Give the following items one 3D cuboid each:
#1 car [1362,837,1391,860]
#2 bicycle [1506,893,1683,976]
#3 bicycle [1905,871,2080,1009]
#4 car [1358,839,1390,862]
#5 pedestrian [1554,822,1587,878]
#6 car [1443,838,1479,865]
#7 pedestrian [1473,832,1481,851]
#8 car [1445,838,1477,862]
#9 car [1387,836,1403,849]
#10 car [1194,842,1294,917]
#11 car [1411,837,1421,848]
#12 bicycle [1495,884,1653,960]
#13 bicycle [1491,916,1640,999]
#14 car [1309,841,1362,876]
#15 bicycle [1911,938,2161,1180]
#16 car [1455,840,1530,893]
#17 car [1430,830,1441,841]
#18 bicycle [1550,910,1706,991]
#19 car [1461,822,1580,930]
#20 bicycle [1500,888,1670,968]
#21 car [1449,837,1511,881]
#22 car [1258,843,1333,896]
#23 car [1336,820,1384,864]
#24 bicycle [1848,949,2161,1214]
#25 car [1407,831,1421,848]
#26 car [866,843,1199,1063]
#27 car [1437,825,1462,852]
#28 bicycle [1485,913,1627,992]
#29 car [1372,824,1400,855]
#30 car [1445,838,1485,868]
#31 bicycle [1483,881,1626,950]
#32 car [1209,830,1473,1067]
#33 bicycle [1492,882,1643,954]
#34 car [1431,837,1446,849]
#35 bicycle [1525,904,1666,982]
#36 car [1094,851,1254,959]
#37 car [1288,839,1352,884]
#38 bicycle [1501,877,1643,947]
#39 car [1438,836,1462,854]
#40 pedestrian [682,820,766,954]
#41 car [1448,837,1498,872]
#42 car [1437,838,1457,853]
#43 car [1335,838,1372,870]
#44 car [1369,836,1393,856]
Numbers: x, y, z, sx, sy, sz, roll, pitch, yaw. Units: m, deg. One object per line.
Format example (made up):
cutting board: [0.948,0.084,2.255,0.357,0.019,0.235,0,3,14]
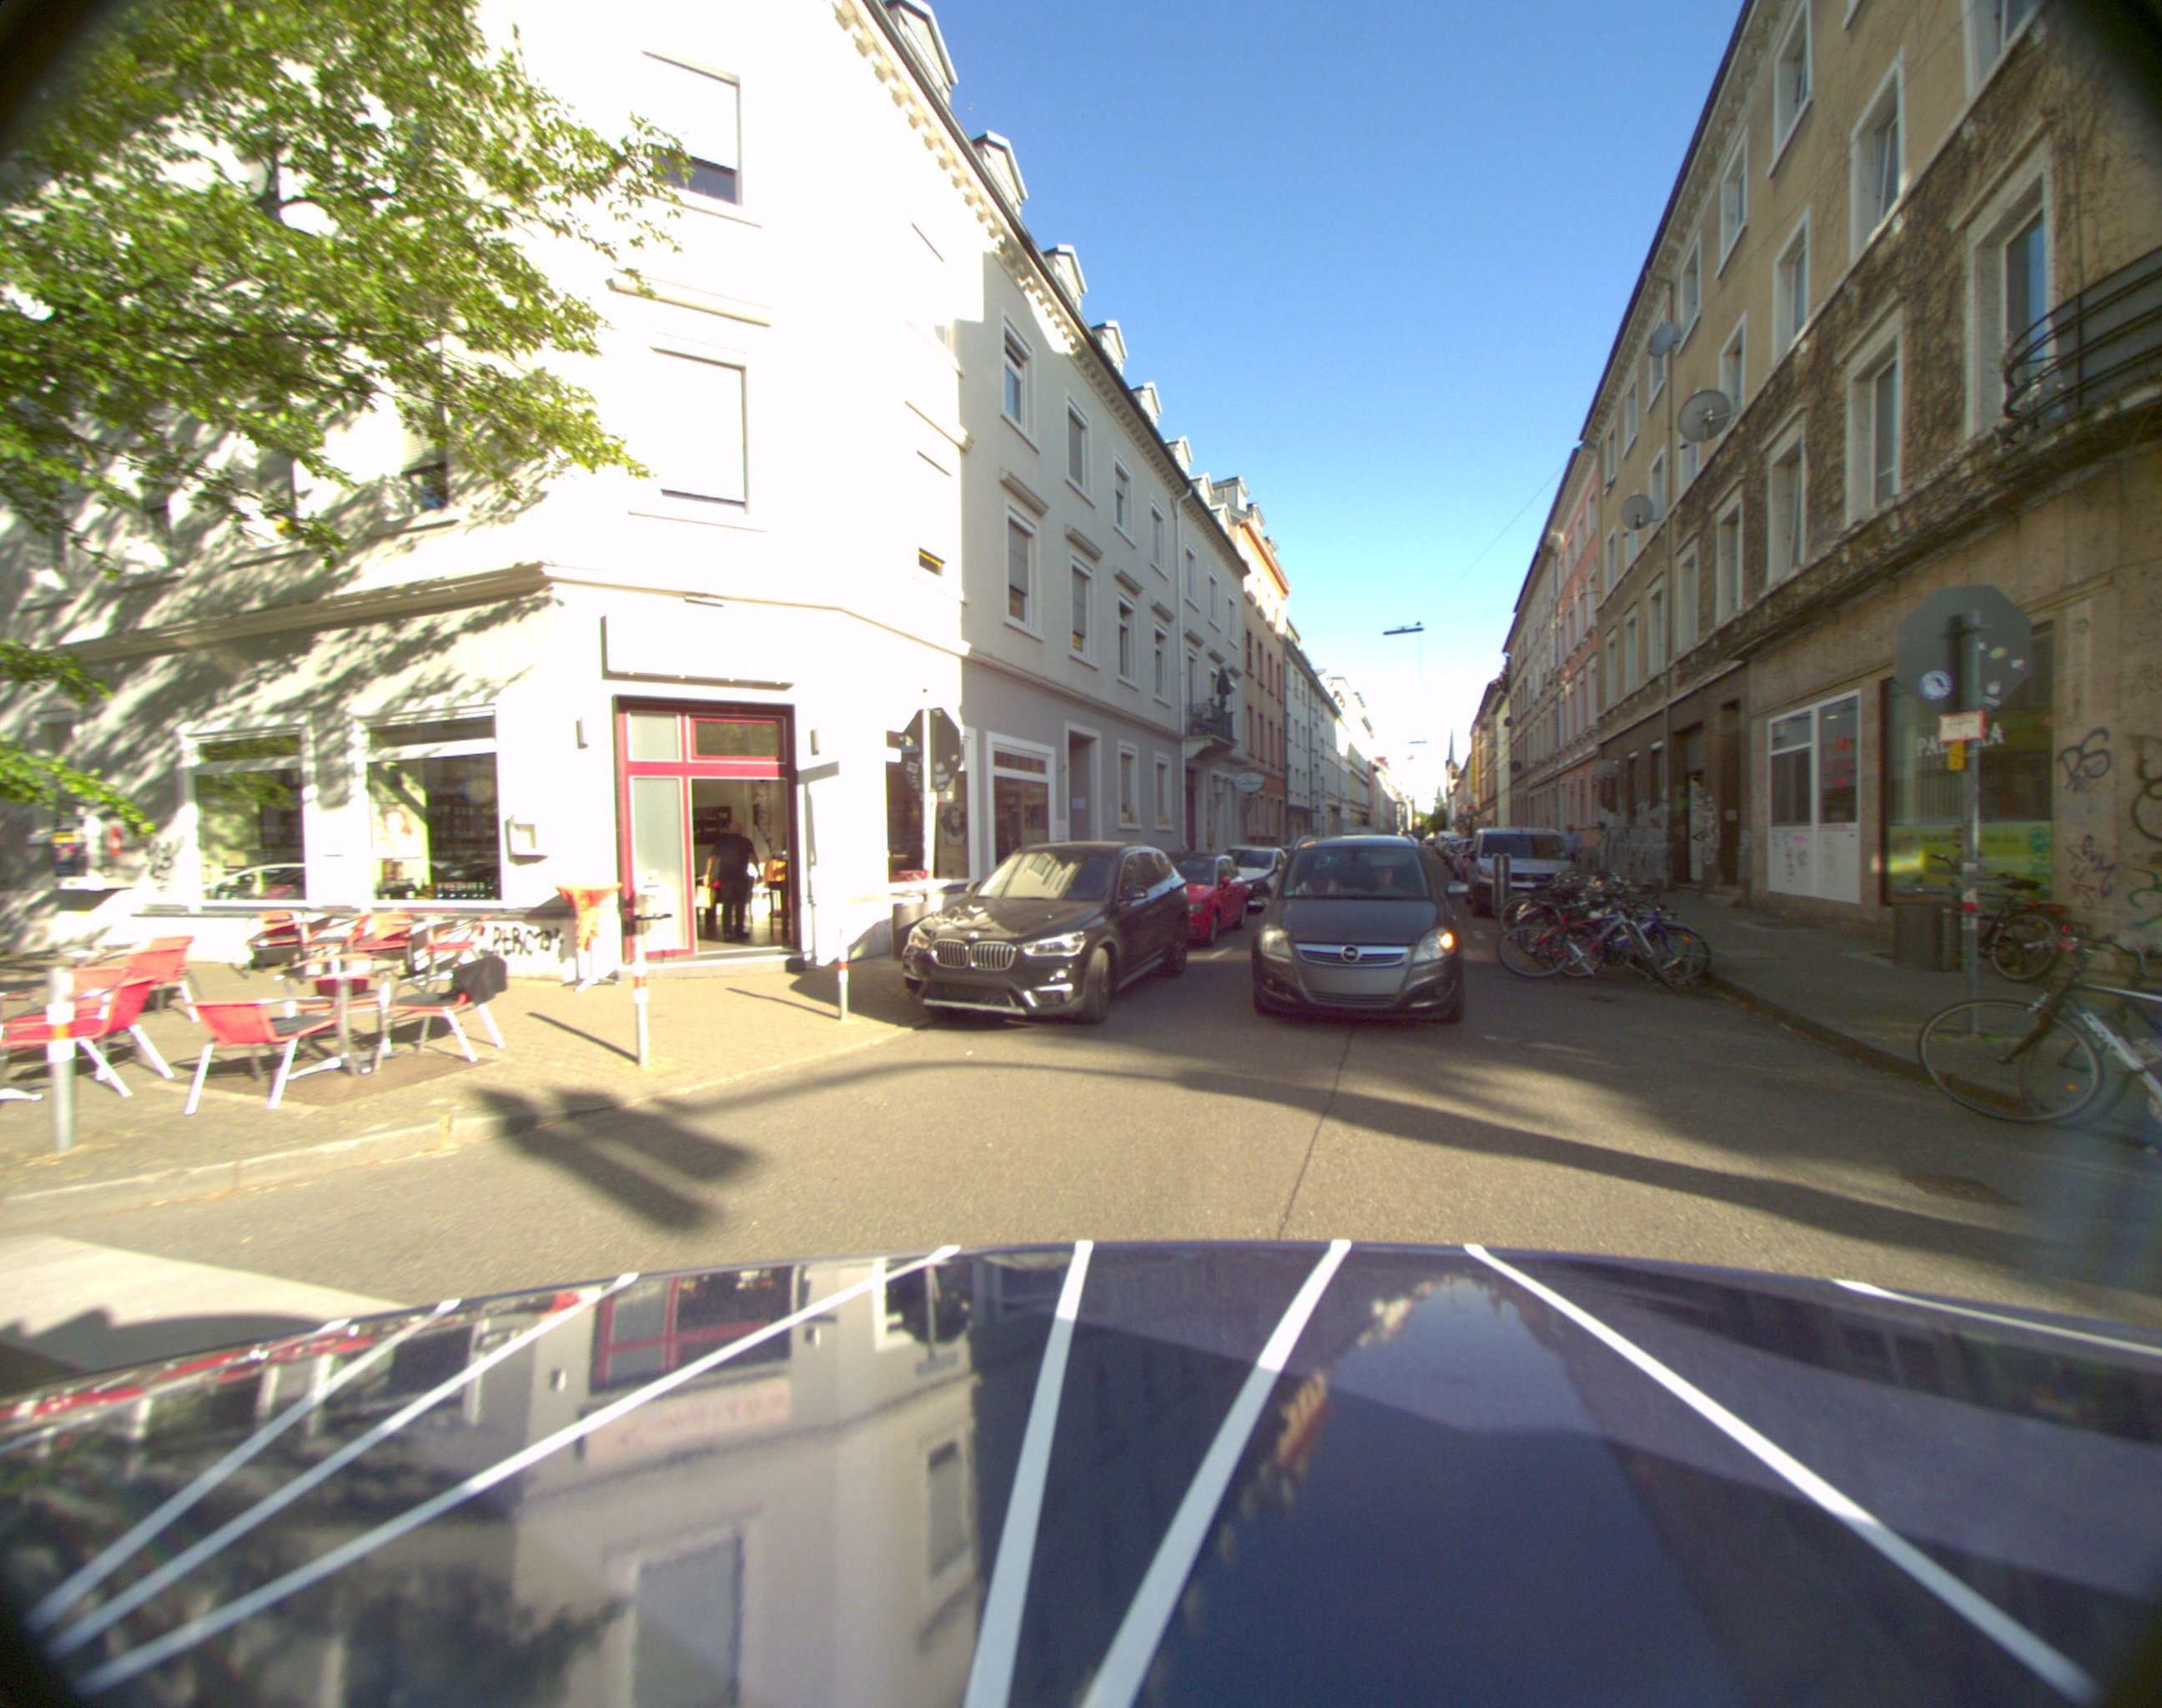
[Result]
car: [21.877,-0.402,56.247,1.680,1.556,3.866,-2,0,25]
bicycle: [6.305,0.970,9.403,1.767,0.956,0.428,-1,1,17]
bicycle: [8.543,0.741,7.202,0.398,1.086,1.593,0,2,24]
car: [20.000,-0.249,51.792,1.680,1.434,3.866,-2,0,25]
pedestrian: [16.348,-0.122,25.379,0.789,1.820,0.595,-2,1,25]
car: [21.713,-0.186,43.312,1.680,1.454,3.866,-1,1,29]
pedestrian: [38.340,-1.254,73.638,0.625,1.820,0.595,-2,1,26]
car: [23.972,-0.287,48.014,1.680,1.454,3.866,-1,1,25]
car: [39.903,-1.470,96.383,1.680,1.588,3.866,-2,0,24]
car: [4.042,0.544,18.386,1.638,1.577,3.794,-2,0,23]
car: [66.942,-2.294,151.895,1.680,2.077,4.165,-2,0,24]
bicycle: [6.729,0.910,10.457,1.766,0.956,0.444,-1,1,23]
bicycle: [5.196,1.097,8.201,1.310,0.813,0.372,-1,1,15]
car: [11.382,0.156,33.764,1.769,1.386,4.501,-2,0,24]
bicycle: [5.336,1.031,3.741,0.451,1.040,1.662,-1,1,-16]
car: [12.836,0.327,23.910,1.680,1.465,4.209,2,2,23]
car: [100.745,-5.348,215.820,2.560,3.029,7.072,-2,0,24]
bicycle: [6.225,1.087,8.702,1.388,0.813,0.362,1,2,15]
car: [9.055,0.330,15.981,1.680,1.899,4.526,3,2,25]
bicycle: [6.448,0.935,9.786,1.767,0.956,0.482,-1,1,12]
car: [14.680,0.148,28.091,1.680,1.540,2.964,0,2,21]
car: [6.949,0.439,24.308,1.681,1.501,4.196,-2,0,24]
car: [17.487,-0.744,47.378,2.046,2.498,6.033,-2,0,27]
bicycle: [4.879,1.060,3.622,0.458,1.039,1.686,-1,-1,-16]
car: [69.435,-3.007,158.240,2.433,3.404,5.551,-2,0,24]
car: [-0.160,0.765,8.078,1.762,1.652,4.203,-2,0,23]
car: [38.149,-1.604,78.660,2.090,2.576,5.851,-1,1,24]
bicycle: [5.319,1.091,8.561,1.310,0.813,0.356,-1,1,15]
car: [28.694,-1.355,71.412,2.047,2.662,6.195,-2,0,25]
car: [19.559,-0.089,38.804,1.680,1.454,4.319,-1,1,25]
bicycle: [6.982,0.891,11.285,1.766,0.956,0.406,-1,1,23]
car: [2.877,0.638,8.015,1.795,1.652,5.192,-2,0,23]
bicycle: [6.902,0.894,10.861,1.766,0.956,0.423,-1,1,23]
car: [43.313,-1.378,92.087,1.680,1.381,3.866,-1,1,25]
bicycle: [6.104,1.042,9.065,1.310,0.813,0.382,1,2,15]
car: [1.759,0.755,13.091,1.647,1.494,3.960,-2,0,23]
car: [9.402,0.248,29.708,1.680,1.588,4.197,-2,0,27]
bicycle: [7.429,0.857,11.572,1.766,0.983,0.464,-1,1,24]
car: [30.289,-0.747,62.401,1.680,1.407,3.866,-1,1,25]
pedestrian: [-4.990,0.437,10.695,0.865,1.789,0.850,-1,1,-13]
car: [17.674,-0.013,34.394,1.680,1.484,3.617,-1,1,22]
car: [35.307,-0.871,73.319,1.680,1.381,3.866,-1,1,25]
car: [14.826,-0.035,41.226,1.681,1.550,3.865,-2,0,22]
car: [26.048,-0.698,65.840,1.680,1.626,3.866,-2,0,24]
